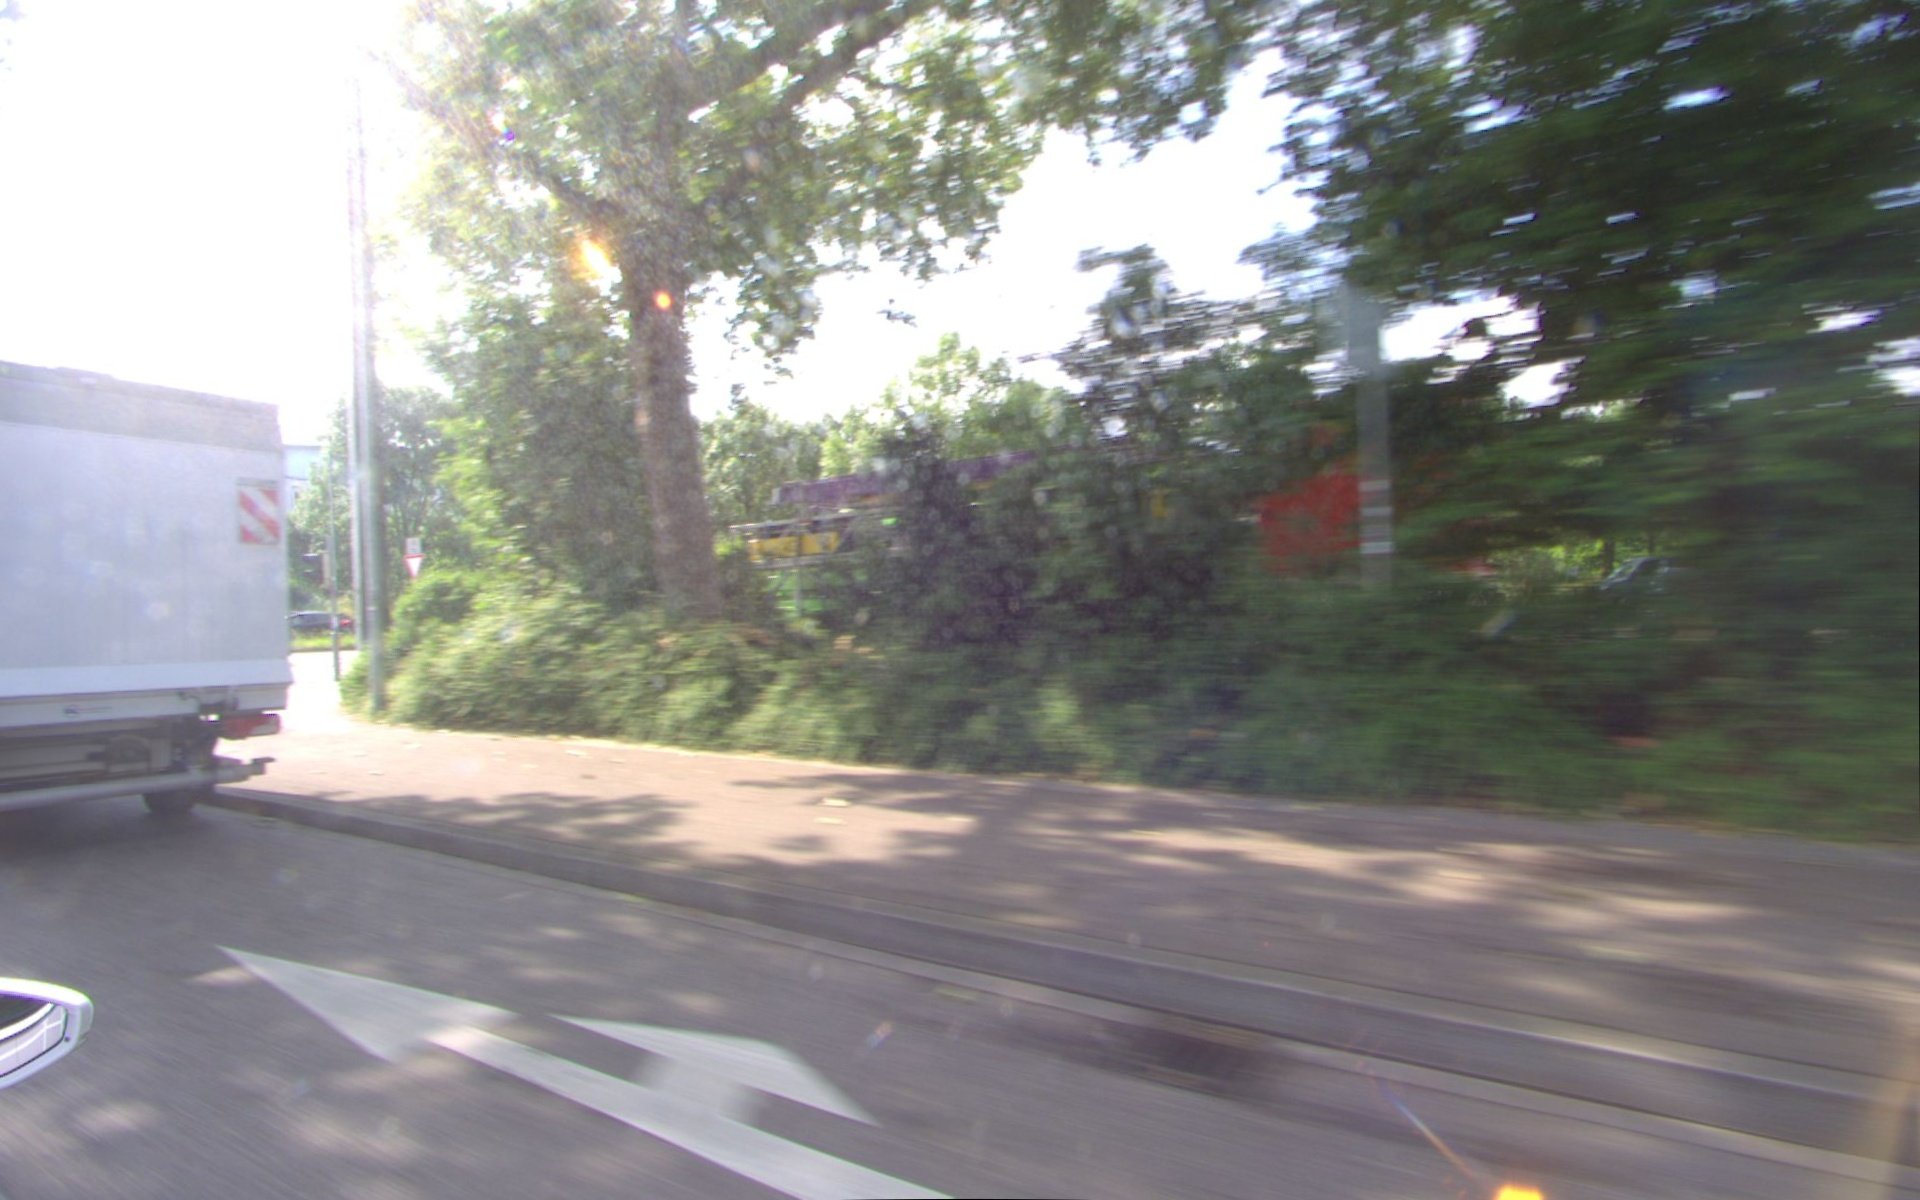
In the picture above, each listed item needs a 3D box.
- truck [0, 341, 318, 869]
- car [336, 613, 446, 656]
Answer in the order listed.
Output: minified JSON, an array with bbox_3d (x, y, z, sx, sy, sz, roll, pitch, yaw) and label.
[{"bbox_3d":[-7.901,0.105,8.123,5.947,3.161,2.440,-2,-1,35],"label":"truck"},{"bbox_3d":[-24.957,1.486,44.112,3.959,1.772,1.970,-1,0,-23],"label":"car"}]
